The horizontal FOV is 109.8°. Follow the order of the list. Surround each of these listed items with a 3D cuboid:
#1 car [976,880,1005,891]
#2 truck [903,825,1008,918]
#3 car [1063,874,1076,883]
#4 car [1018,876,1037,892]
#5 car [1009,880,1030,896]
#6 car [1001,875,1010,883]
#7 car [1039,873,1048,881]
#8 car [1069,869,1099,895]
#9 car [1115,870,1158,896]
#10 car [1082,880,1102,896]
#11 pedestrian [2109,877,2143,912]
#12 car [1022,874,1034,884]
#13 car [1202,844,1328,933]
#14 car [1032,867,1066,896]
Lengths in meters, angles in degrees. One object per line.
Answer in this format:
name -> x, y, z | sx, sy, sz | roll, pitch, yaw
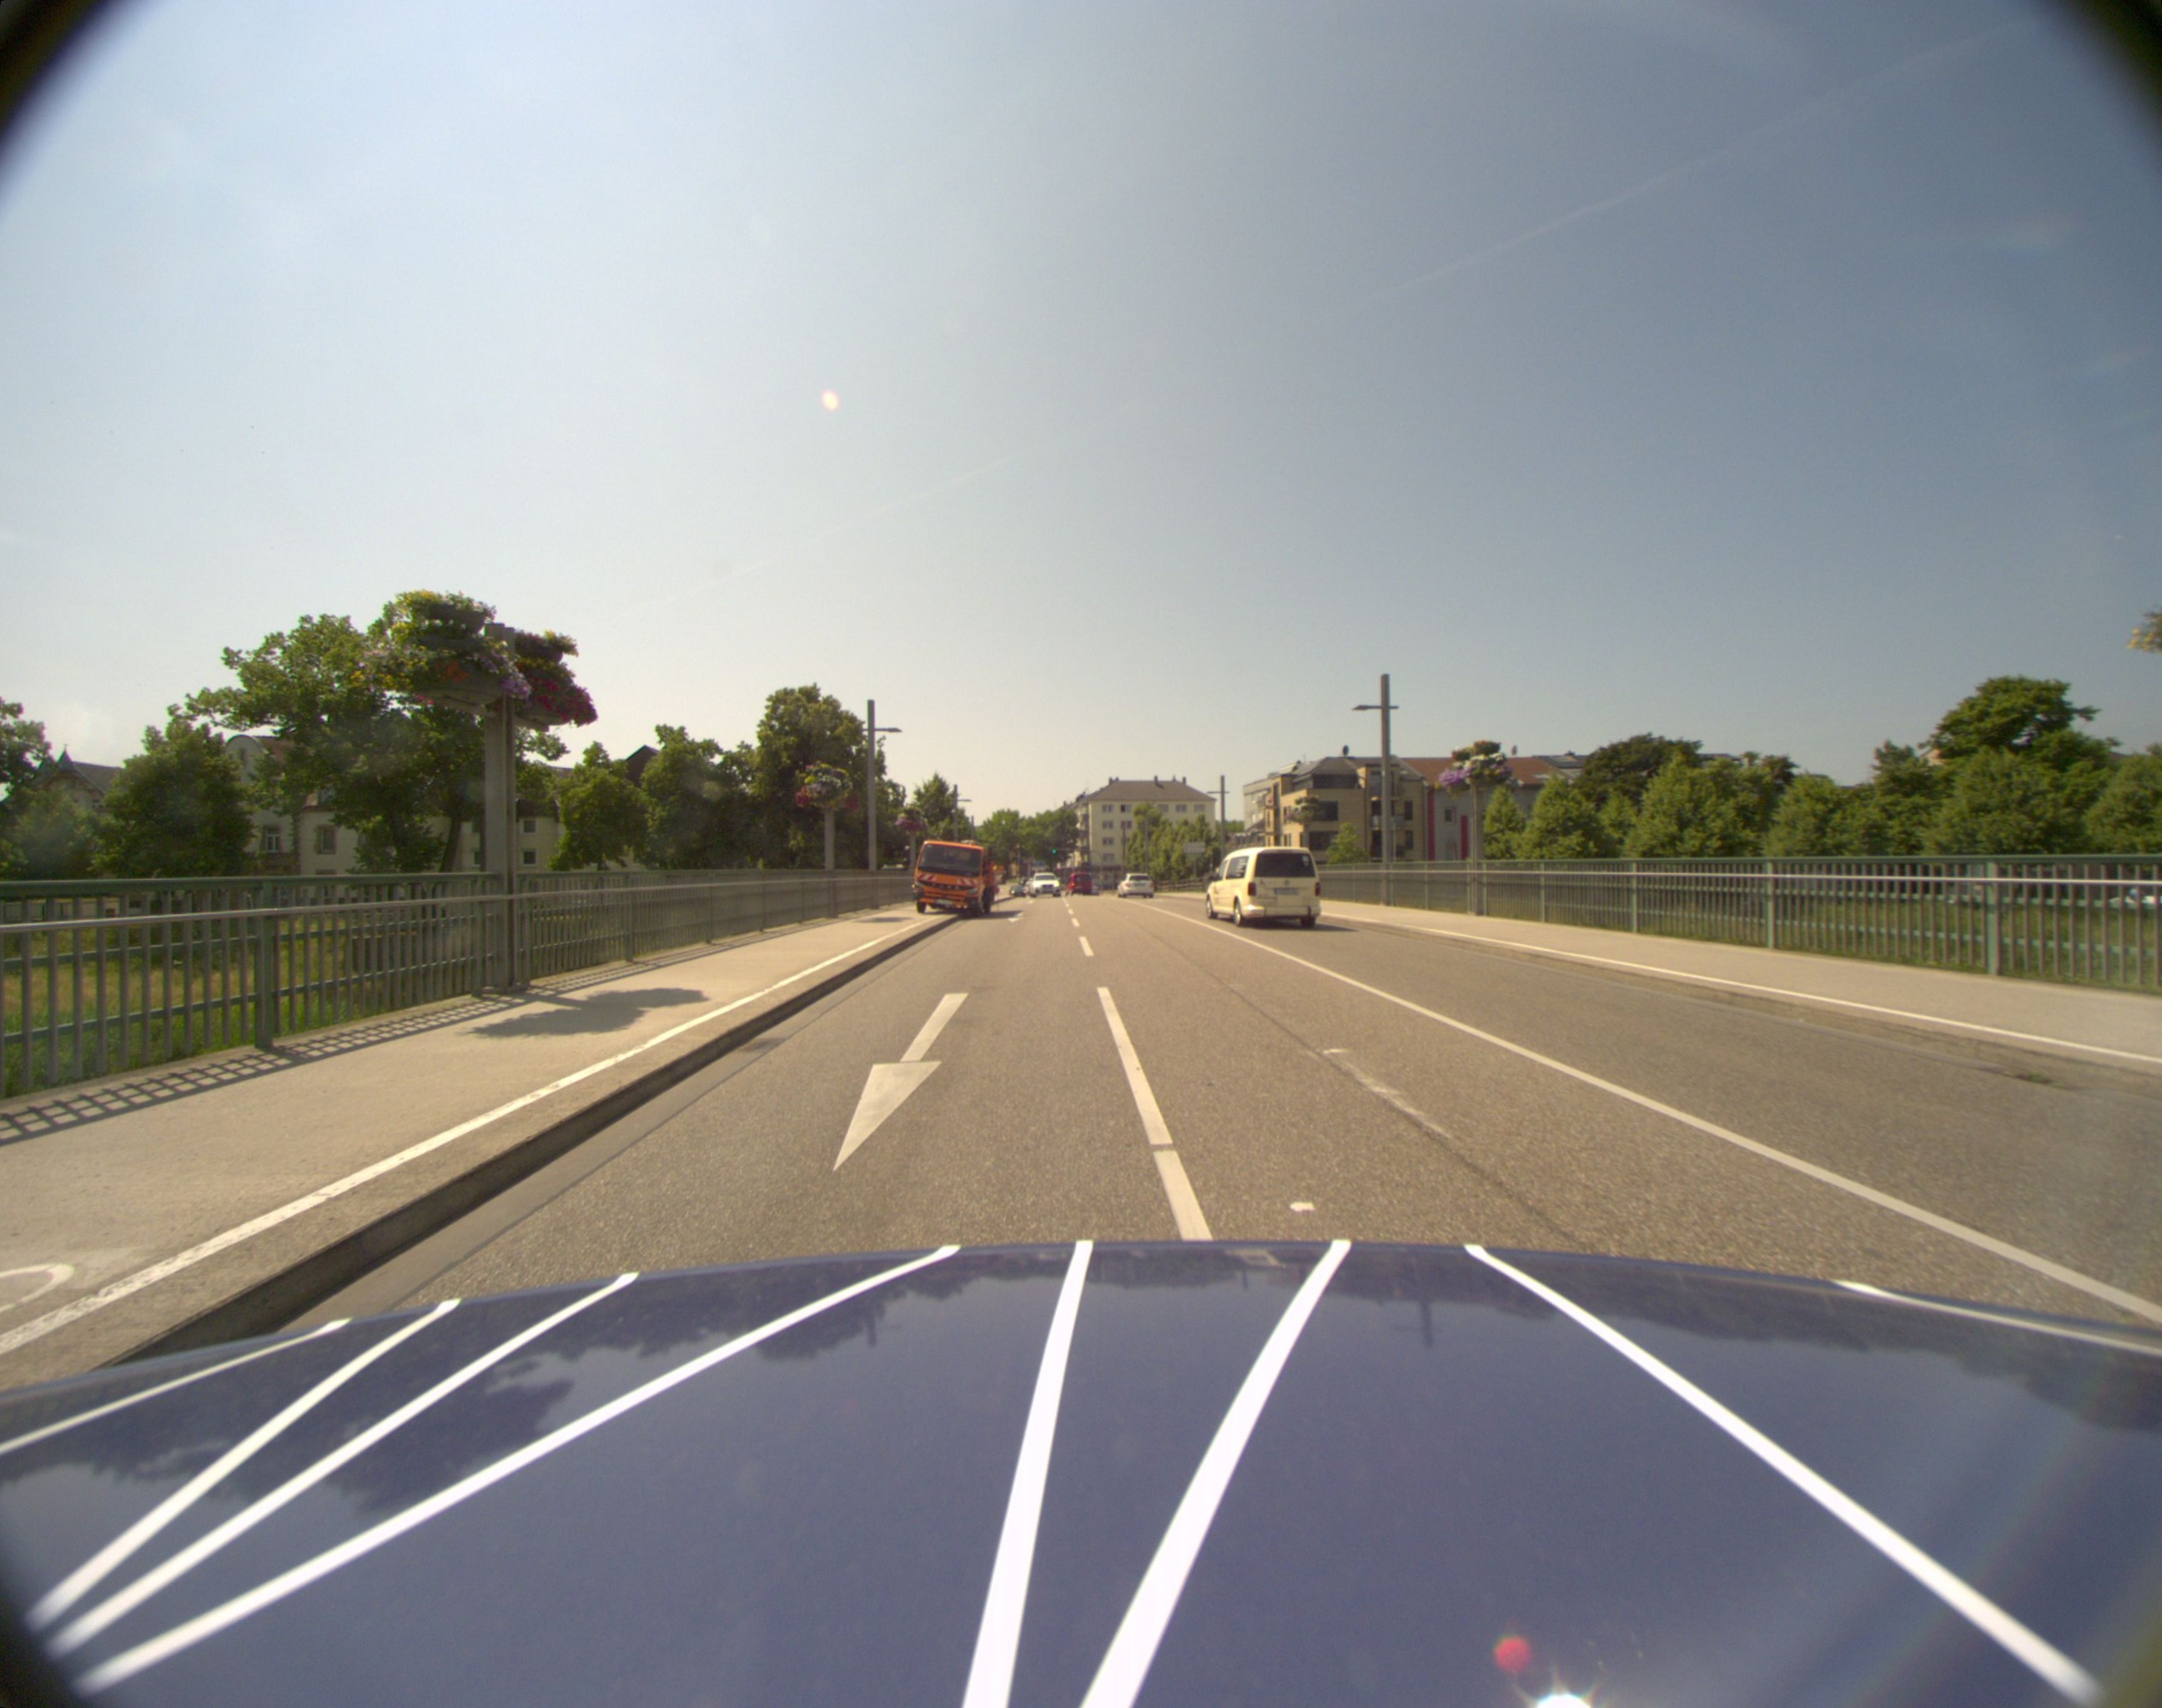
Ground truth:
car -> -12.924, 4.477, 108.530 | 3.851, 1.455, 1.655 | 1, -1, 24
truck -> -3.945, 0.565, 25.035 | 2.613, 2.675, 5.823 | -1, -1, -2
car -> -2.150, 4.520, 141.626 | 1.627, 1.559, 4.835 | -1, 0, -10
car -> -7.025, 3.923, 99.539 | 1.843, 1.848, 4.661 | -4, -2, -10
car -> -6.780, 3.676, 83.697 | 1.778, 1.480, 3.995 | -2, 1, -12
car -> -17.031, 5.567, 170.604 | 1.719, 1.477, 4.028 | -4, 1, -9
car -> -7.866, 4.847, 158.987 | 1.640, 1.459, 3.631 | 0, 0, -10
car -> 0.189, 2.126, 58.611 | 1.741, 1.766, 4.174 | -2, 0, -7
car -> 3.234, 1.680, 45.172 | 1.849, 1.423, 4.713 | 1, -1, -4
car -> 1.033, 3.381, 75.997 | 1.703, 1.351, 4.454 | -1, 1, -3
pedestrian -> 61.095, 2.346, 44.424 | 0.726, 2.002, 0.883 | -2, 0, -6
car -> -9.588, 4.453, 137.069 | 1.743, 1.631, 3.917 | 1, 0, -10
car -> 4.293, 0.745, 18.511 | 1.764, 1.846, 4.645 | -1, 0, -2
car -> -2.251, 1.856, 51.857 | 1.999, 1.739, 4.443 | -2, 0, -6
